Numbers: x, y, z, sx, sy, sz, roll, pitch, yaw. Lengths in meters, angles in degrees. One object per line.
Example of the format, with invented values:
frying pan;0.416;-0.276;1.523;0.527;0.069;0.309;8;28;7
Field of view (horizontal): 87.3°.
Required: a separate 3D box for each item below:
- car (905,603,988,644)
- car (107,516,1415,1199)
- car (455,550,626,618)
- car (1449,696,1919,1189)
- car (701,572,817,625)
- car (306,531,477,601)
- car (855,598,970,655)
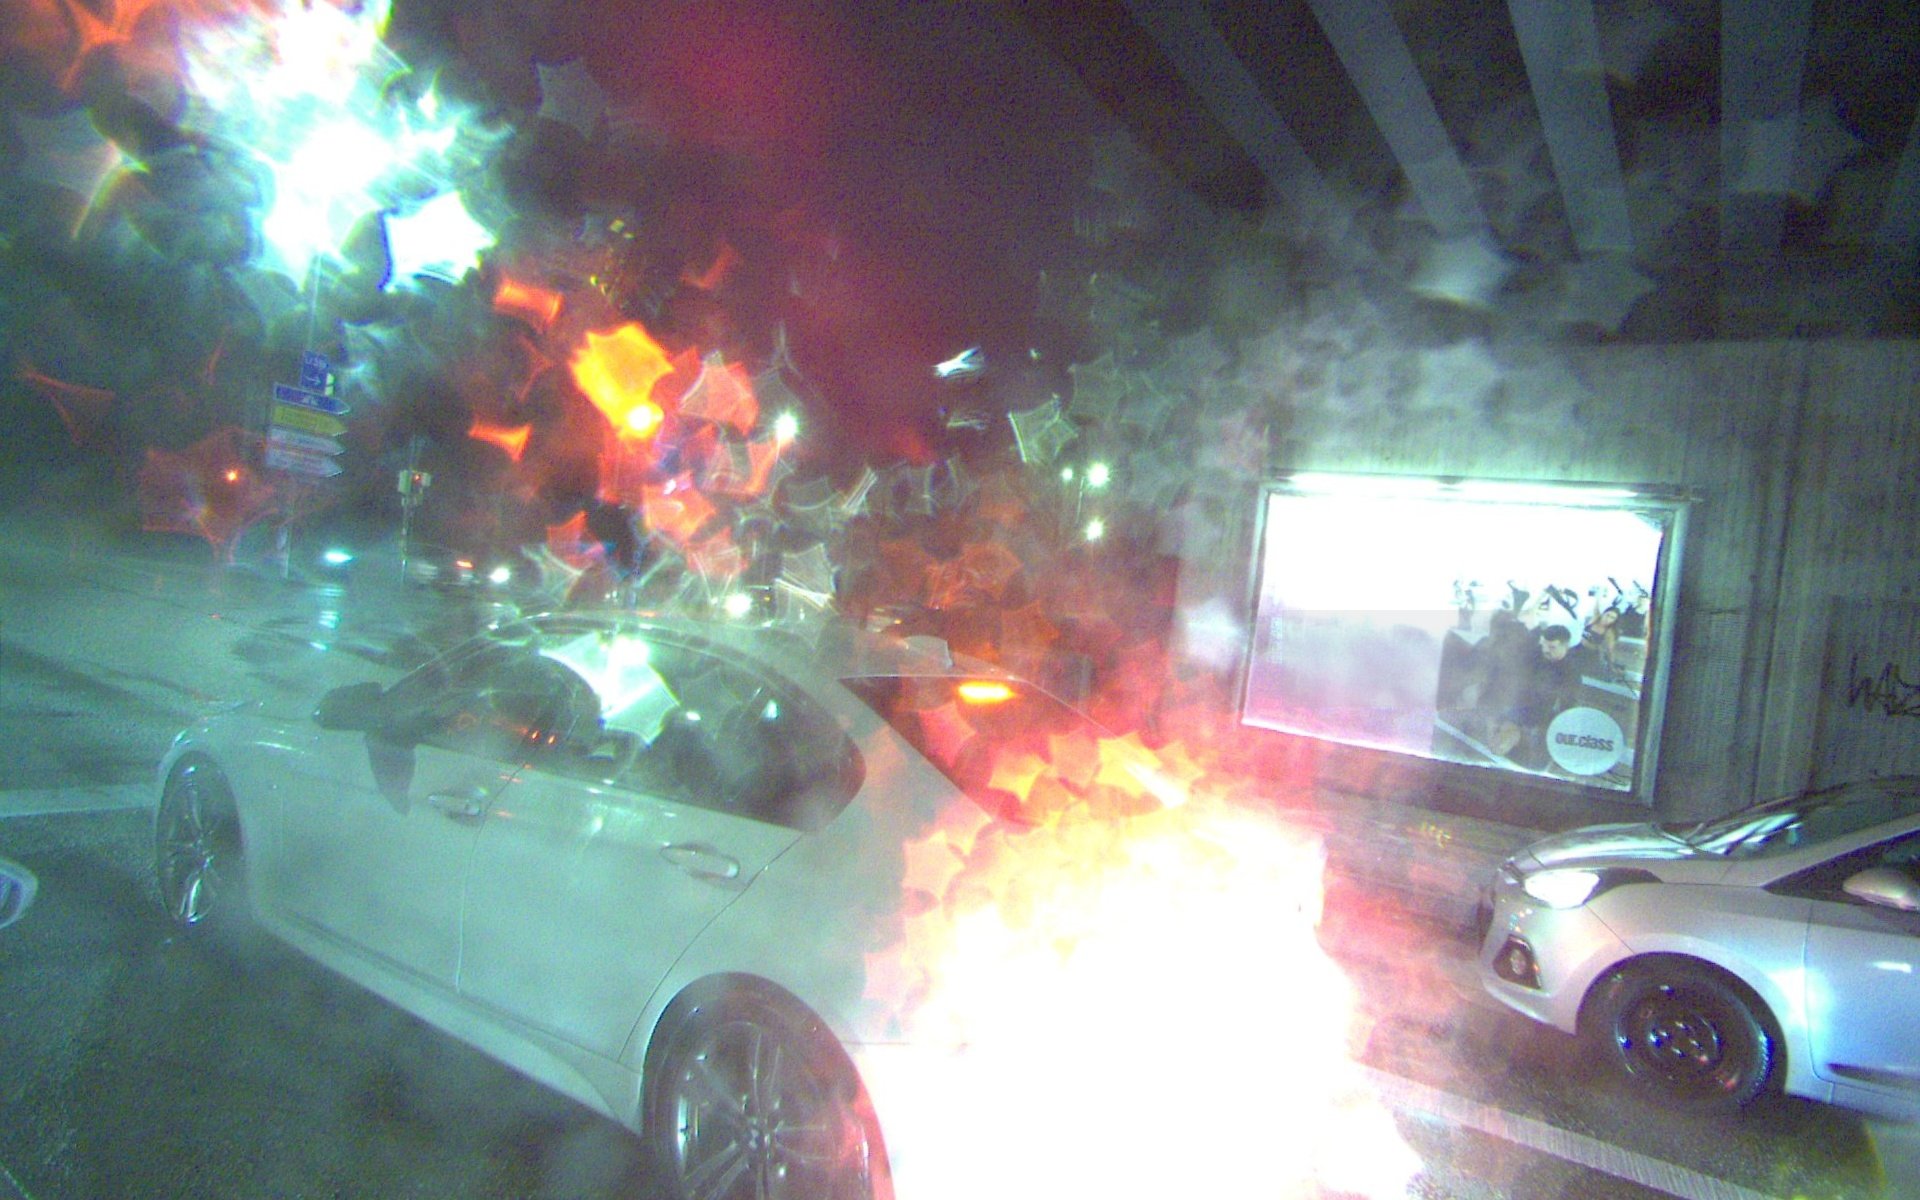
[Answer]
car;-0.668;1.257;52.613;1.827;1.609;4.335;6;-2;40
car;-0.930;0.657;3.495;4.309;1.465;1.722;6;0;31
car;-13.796;-0.491;33.329;1.826;1.609;4.850;6;-2;38
car;4.310;1.411;3.925;4.092;1.465;1.722;6;0;31
car;-8.164;-0.030;41.181;1.827;1.609;4.335;6;-2;40
car;-18.161;-1.066;32.292;1.827;1.609;4.335;6;-2;40
car;-1.672;1.022;37.319;1.965;1.628;4.968;6;-2;26
